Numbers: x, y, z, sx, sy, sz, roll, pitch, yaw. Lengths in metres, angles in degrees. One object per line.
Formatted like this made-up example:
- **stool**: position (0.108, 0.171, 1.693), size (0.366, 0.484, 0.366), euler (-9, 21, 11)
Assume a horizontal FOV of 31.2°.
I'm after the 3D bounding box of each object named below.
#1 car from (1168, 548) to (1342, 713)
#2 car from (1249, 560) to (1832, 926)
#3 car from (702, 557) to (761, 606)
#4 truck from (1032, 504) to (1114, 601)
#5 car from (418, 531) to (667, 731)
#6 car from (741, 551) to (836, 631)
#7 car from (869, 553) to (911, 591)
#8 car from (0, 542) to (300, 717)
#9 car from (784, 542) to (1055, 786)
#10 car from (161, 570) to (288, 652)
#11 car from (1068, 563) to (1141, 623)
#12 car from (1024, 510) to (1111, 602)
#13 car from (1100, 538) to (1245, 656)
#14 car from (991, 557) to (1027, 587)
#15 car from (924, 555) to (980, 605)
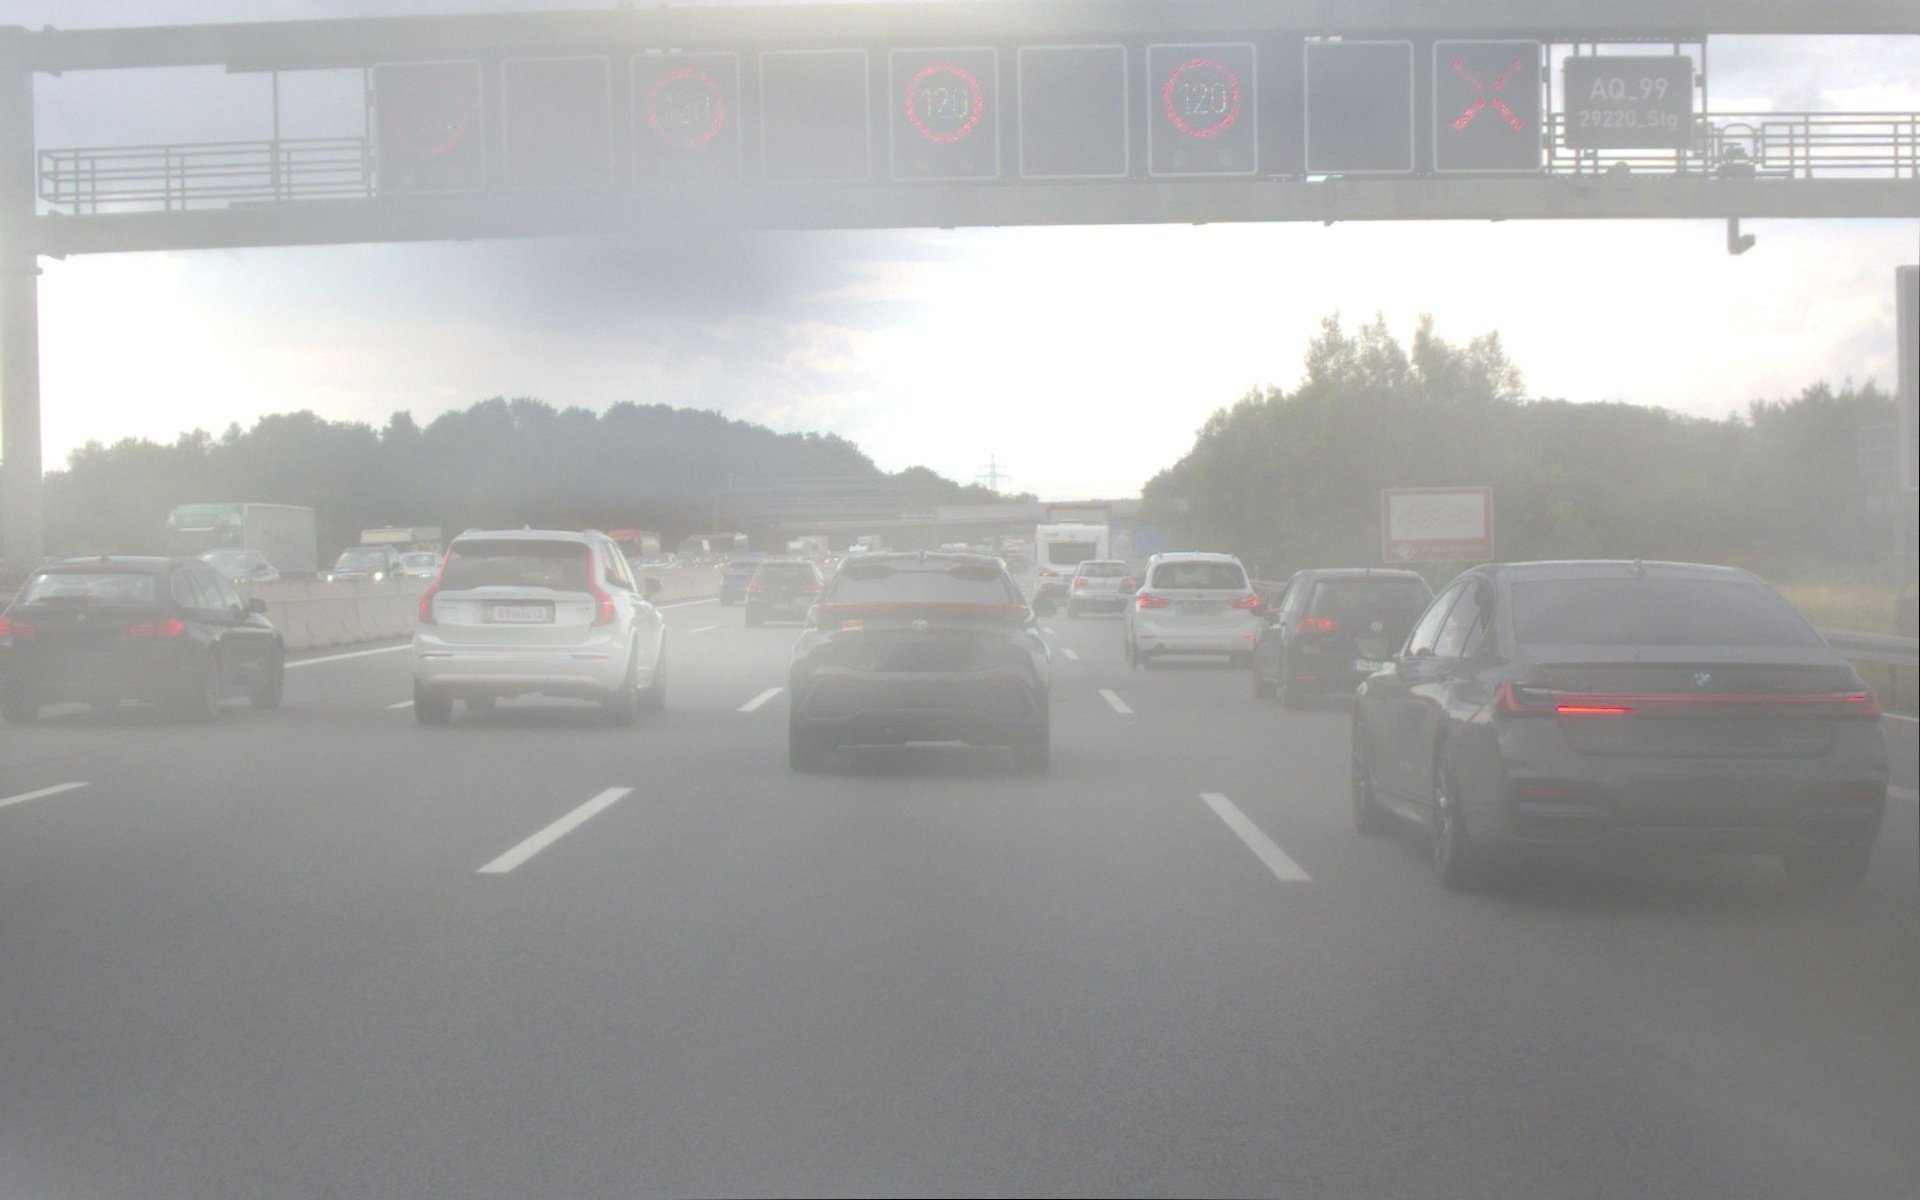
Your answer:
- **car**: position (3.070, 0.274, 36.395), size (1.707, 1.625, 4.456), euler (0, 1, 4)
- **car**: position (2.574, 0.557, 16.445), size (1.939, 1.486, 4.776), euler (0, 1, 0)
- **car**: position (-7.080, -0.593, 106.724), size (1.563, 1.472, 3.920), euler (0, 1, 0)
- **truck**: position (4.465, -1.887, 137.238), size (3.133, 3.697, 9.847), euler (0, 1, 1)
- **car**: position (-3.786, 0.240, 31.800), size (1.781, 1.710, 4.353), euler (0, 1, 0)
- **car**: position (-3.715, -0.212, 74.999), size (1.881, 1.680, 4.000), euler (0, 1, 0)
- **car**: position (-3.186, -1.275, 156.966), size (1.881, 1.680, 4.000), euler (0, 1, 0)
- **car**: position (-7.450, 0.227, 31.492), size (1.781, 1.476, 4.352), euler (0, 1, 3)
- **car**: position (-0.382, 0.399, 25.124), size (1.780, 1.607, 4.598), euler (0, 1, -3)
- **car**: position (-17.736, 0.232, 83.112), size (1.993, 1.879, 5.187), euler (0, 1, -1)
- **car**: position (3.674, -0.200, 87.700), size (1.795, 1.472, 4.037), euler (0, 1, 2)
- **car**: position (3.447, -1.432, 111.945), size (2.567, 2.885, 7.534), euler (0, 1, 0)
- **car**: position (2.986, -0.068, 49.103), size (1.810, 1.593, 4.696), euler (0, 1, 1)
- **car**: position (2.749, -1.606, 194.262), size (1.881, 1.680, 4.000), euler (0, 1, -2)
- **car**: position (-0.285, -0.704, 117.585), size (1.881, 1.680, 4.000), euler (0, 1, 0)
